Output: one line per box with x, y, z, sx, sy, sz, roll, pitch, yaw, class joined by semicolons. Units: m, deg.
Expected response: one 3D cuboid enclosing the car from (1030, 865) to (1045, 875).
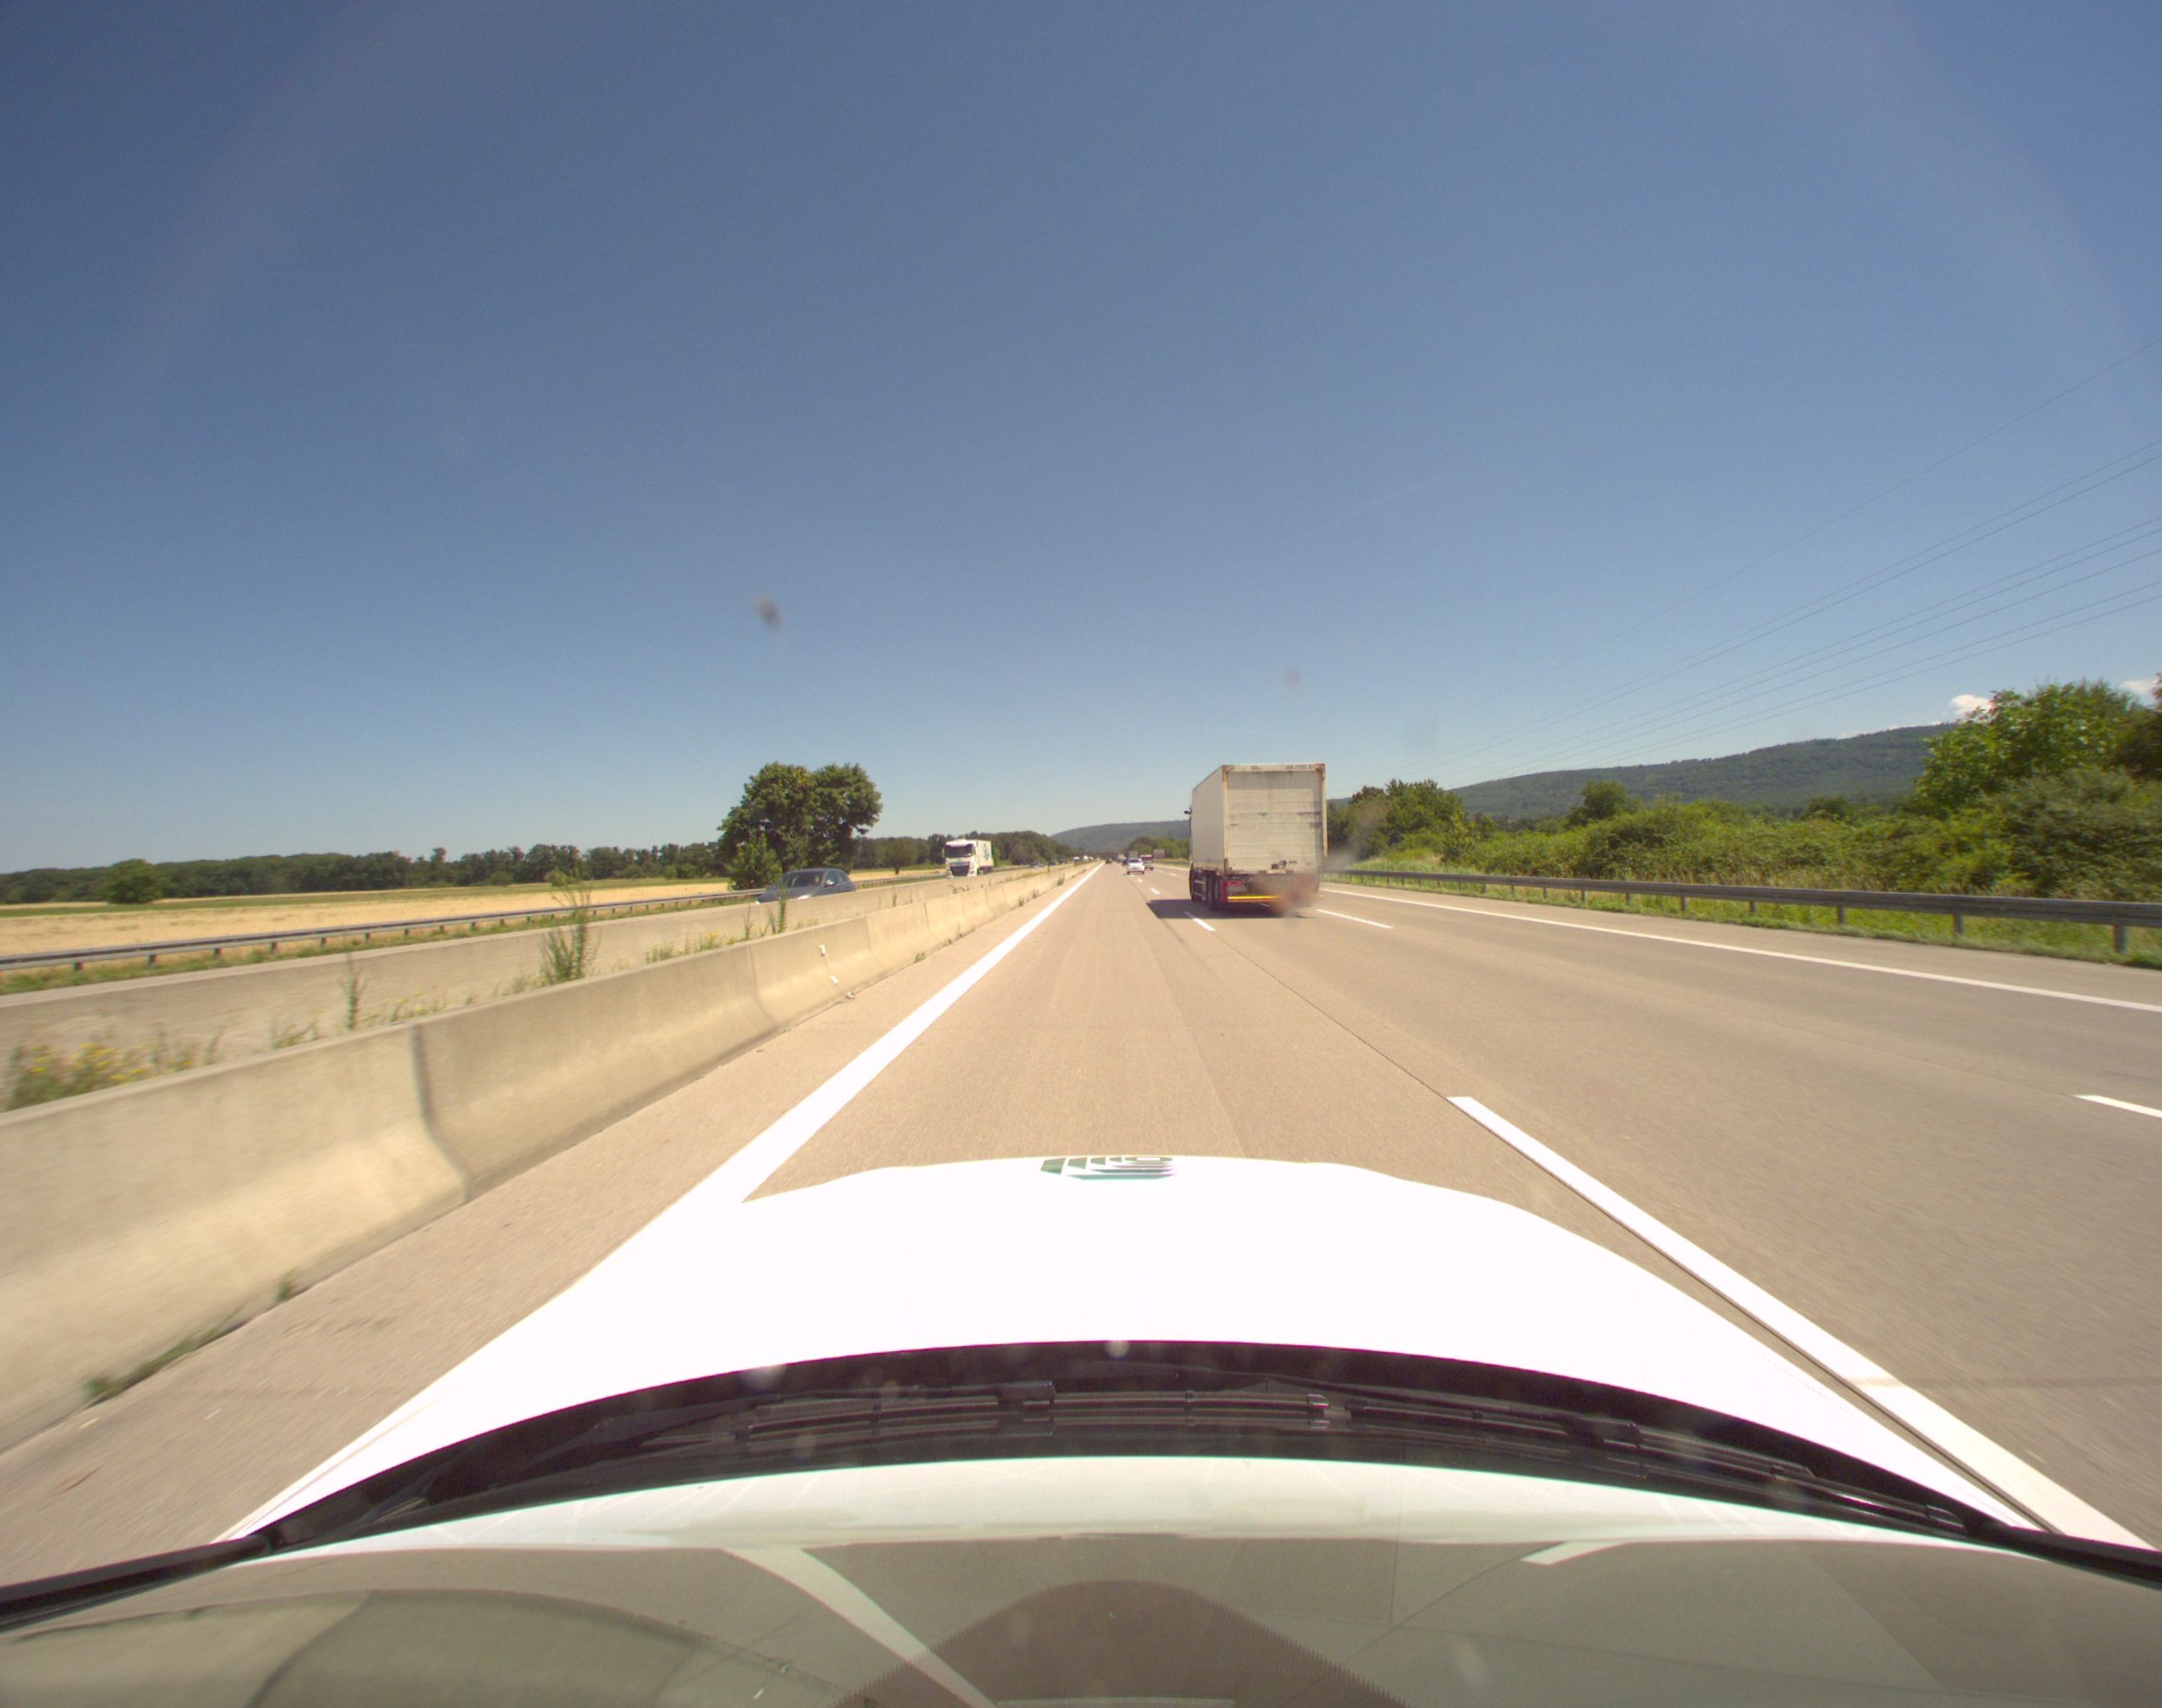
-7.503;2.699;140.498;1.984;1.717;5.031;0;0;5;car

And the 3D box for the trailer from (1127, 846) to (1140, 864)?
17.000;0.437;264.595;3.708;5.811;12.161;-1;0;1;trailer

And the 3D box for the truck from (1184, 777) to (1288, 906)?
4.970;-0.365;26.963;2.572;3.878;4.985;-1;0;1;truck

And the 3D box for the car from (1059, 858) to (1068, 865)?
-4.813;1.934;221.509;1.985;1.878;5.188;-1;0;3;car

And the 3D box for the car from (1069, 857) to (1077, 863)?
-2.197;1.627;226.022;1.985;1.717;5.033;-1;0;3;car

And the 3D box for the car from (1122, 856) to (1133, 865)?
9.698;1.401;169.911;1.987;1.849;4.000;1;0;1;car

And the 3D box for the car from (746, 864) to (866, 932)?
-7.812;1.188;23.594;1.855;1.729;4.144;-1;0;3;car

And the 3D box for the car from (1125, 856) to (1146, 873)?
5.255;1.008;79.392;1.813;1.662;4.001;-1;0;1;car

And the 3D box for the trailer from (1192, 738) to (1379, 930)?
4.849;-0.391;21.722;2.571;3.877;10.375;-1;0;1;trailer

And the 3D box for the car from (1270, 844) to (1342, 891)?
9.455;0.556;34.518;1.986;1.849;4.001;1;0;1;car

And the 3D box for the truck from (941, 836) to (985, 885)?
-10.085;0.550;70.018;2.890;3.970;5.047;-1;0;1;truck

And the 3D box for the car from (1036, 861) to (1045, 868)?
-9.761;2.596;196.399;1.987;1.717;4.301;-1;0;1;car

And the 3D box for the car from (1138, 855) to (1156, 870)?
8.475;1.083;104.820;1.986;1.849;4.001;0;0;1;car

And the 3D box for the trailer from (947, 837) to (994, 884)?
-9.960;0.571;74.256;2.890;3.970;8.480;-1;0;2;trailer

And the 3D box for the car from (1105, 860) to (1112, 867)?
7.846;2.719;231.234;1.922;1.794;4.001;-1;0;1;car
